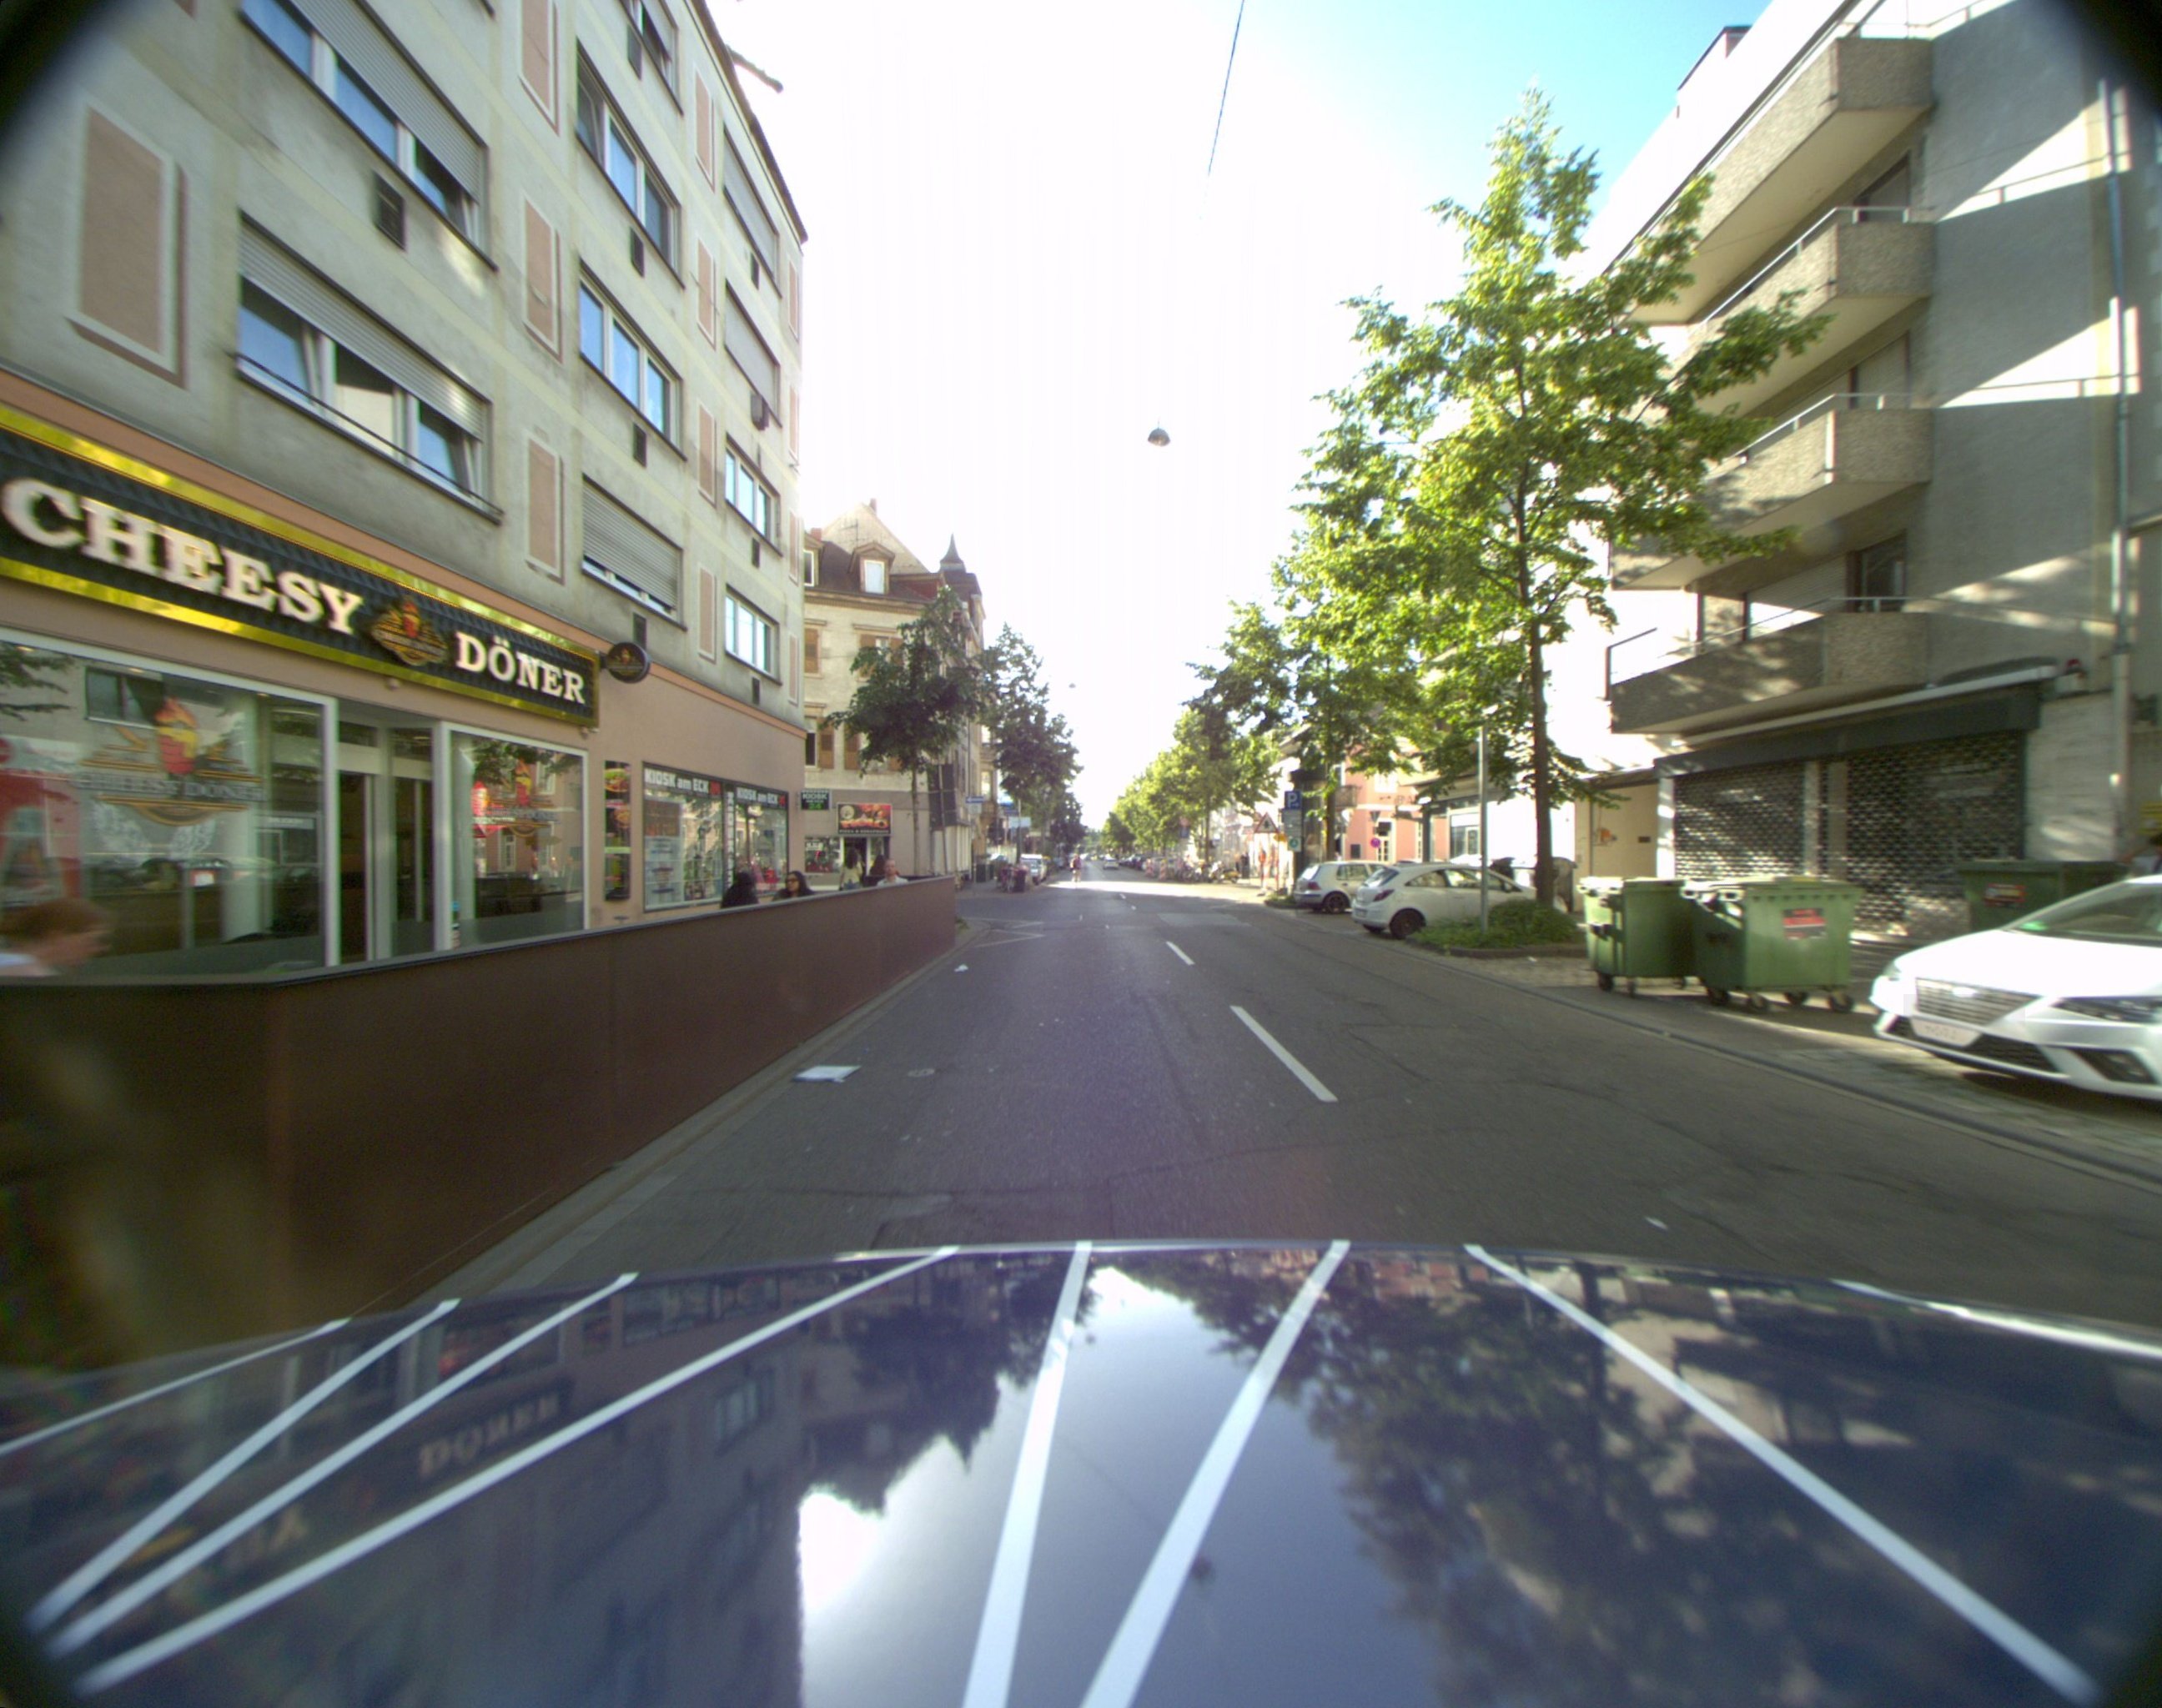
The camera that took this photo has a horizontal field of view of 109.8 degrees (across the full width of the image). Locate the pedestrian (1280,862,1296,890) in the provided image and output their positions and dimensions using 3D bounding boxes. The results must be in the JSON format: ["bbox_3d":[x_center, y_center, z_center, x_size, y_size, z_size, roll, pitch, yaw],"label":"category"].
[{"bbox_3d":[12.016,1.268,44.124,0.650,1.592,0.863,-1,0,0],"label":"pedestrian"}]

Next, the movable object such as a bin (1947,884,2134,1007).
[{"bbox_3d":[12.006,1.109,9.570,0.823,1.389,1.227,-1,1,3],"label":"movable object such as a bin"}]

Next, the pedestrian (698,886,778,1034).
[{"bbox_3d":[-3.330,1.005,7.414,0.474,1.354,0.594,-1,1,1],"label":"pedestrian"}]

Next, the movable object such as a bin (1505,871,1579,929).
[{"bbox_3d":[11.845,1.164,19.572,1.080,1.406,1.352,0,0,1],"label":"movable object such as a bin"}]

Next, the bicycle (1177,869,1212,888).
[{"bbox_3d":[6.751,1.455,45.163,2.006,1.023,0.473,-2,1,-12],"label":"bicycle"}]

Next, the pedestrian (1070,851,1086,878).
[{"bbox_3d":[-0.171,0.570,40.372,0.804,1.381,0.931,-1,0,-1],"label":"pedestrian"}]

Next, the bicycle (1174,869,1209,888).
[{"bbox_3d":[6.658,1.460,45.652,2.006,1.023,0.473,-2,1,-12],"label":"bicycle"}]

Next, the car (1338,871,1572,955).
[{"bbox_3d":[7.263,1.119,14.990,3.788,1.455,1.710,-1,0,-2],"label":"car"}]

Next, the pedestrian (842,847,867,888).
[{"bbox_3d":[-9.660,0.573,32.362,0.801,1.687,0.705,-1,3,-39],"label":"pedestrian"}]

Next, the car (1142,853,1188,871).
[{"bbox_3d":[7.944,0.775,72.334,4.135,1.670,2.000,0,0,-1],"label":"car"}]

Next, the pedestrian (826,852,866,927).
[{"bbox_3d":[-5.299,0.795,17.177,0.643,1.635,0.748,2,0,-1],"label":"pedestrian"}]

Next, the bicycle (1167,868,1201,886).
[{"bbox_3d":[6.362,1.425,47.045,2.006,1.023,0.473,-2,1,-12],"label":"bicycle"}]

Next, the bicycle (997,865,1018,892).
[{"bbox_3d":[-3.337,1.117,34.355,0.379,1.139,1.670,1,1,-24],"label":"bicycle"}]

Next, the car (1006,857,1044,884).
[{"bbox_3d":[-3.181,0.903,43.624,1.835,1.410,4.159,2,0,0],"label":"car"}]

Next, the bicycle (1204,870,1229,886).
[{"bbox_3d":[8.170,1.460,45.874,1.513,0.945,0.360,-1,1,41],"label":"bicycle"}]

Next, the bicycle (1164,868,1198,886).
[{"bbox_3d":[6.248,1.423,47.553,2.006,1.023,0.473,-2,1,-12],"label":"bicycle"}]

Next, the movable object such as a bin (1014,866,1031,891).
[{"bbox_3d":[-2.692,1.132,35.229,0.721,1.149,0.602,0,0,3],"label":"movable object such as a bin"}]

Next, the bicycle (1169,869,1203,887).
[{"bbox_3d":[6.454,1.437,46.570,2.006,1.023,0.473,-2,1,-12],"label":"bicycle"}]

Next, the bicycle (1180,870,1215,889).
[{"bbox_3d":[6.855,1.489,44.636,2.006,1.023,0.473,-2,1,-12],"label":"bicycle"}]

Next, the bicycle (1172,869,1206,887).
[{"bbox_3d":[6.551,1.449,46.147,2.006,1.023,0.473,-2,1,-12],"label":"bicycle"}]

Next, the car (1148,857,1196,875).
[{"bbox_3d":[8.351,1.090,69.908,4.135,1.670,2.000,0,0,-1],"label":"car"}]

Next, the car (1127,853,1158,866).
[{"bbox_3d":[8.325,0.726,103.168,4.135,1.792,1.911,0,0,-1],"label":"car"}]

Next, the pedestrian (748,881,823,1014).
[{"bbox_3d":[-3.200,0.989,8.271,0.553,1.371,0.594,-1,1,1],"label":"pedestrian"}]

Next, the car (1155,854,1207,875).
[{"bbox_3d":[8.418,0.867,64.230,4.135,1.670,2.000,0,0,-1],"label":"car"}]

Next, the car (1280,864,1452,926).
[{"bbox_3d":[7.680,1.079,20.718,4.008,1.456,1.748,-2,2,0],"label":"car"}]

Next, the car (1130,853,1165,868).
[{"bbox_3d":[8.154,0.786,93.623,4.135,1.792,1.911,0,0,-1],"label":"car"}]

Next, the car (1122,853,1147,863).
[{"bbox_3d":[9.502,0.732,135.017,4.135,1.792,1.911,0,0,-1],"label":"car"}]

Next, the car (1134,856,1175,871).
[{"bbox_3d":[7.789,0.980,80.498,4.135,1.584,1.911,0,0,-1],"label":"car"}]

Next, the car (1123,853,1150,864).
[{"bbox_3d":[8.995,0.725,123.728,4.135,1.792,1.911,0,0,-1],"label":"car"}]

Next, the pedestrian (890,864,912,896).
[{"bbox_3d":[-7.473,1.078,31.563,0.714,1.252,0.589,-1,3,-39],"label":"pedestrian"}]

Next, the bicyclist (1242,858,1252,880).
[{"bbox_3d":[11.596,1.056,53.114,0.570,1.495,0.751,0,2,0],"label":"bicyclist"}]

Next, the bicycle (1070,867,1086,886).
[{"bbox_3d":[-0.160,1.174,40.394,0.805,0.958,1.996,-1,0,-1],"label":"bicycle"}]

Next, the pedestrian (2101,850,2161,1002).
[{"bbox_3d":[12.062,0.787,8.505,0.434,1.662,0.639,-1,1,3],"label":"pedestrian"}]

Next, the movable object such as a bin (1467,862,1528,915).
[{"bbox_3d":[11.759,0.954,21.496,1.035,1.451,1.258,0,0,1],"label":"movable object such as a bin"}]

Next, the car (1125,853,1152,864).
[{"bbox_3d":[9.153,0.695,120.929,4.135,1.792,1.911,0,0,-1],"label":"car"}]

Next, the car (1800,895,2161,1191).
[{"bbox_3d":[7.630,1.058,4.997,3.989,1.455,1.887,-1,0,1],"label":"car"}]

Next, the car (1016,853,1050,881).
[{"bbox_3d":[-3.032,0.812,48.671,1.835,1.641,4.159,2,0,1],"label":"car"}]

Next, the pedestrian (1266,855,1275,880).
[{"bbox_3d":[13.139,0.905,52.669,0.517,1.716,0.526,0,0,18],"label":"pedestrian"}]

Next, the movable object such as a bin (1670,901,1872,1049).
[{"bbox_3d":[6.893,1.172,7.660,1.195,1.337,0.931,0,0,0],"label":"movable object such as a bin"}]

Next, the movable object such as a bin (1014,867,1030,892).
[{"bbox_3d":[-2.661,1.145,34.497,0.634,1.062,0.602,1,2,2],"label":"movable object such as a bin"}]

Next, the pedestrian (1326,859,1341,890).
[{"bbox_3d":[13.946,1.122,42.015,0.630,1.716,0.580,0,0,-3],"label":"pedestrian"}]

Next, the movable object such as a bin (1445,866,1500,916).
[{"bbox_3d":[11.842,1.111,23.018,1.035,1.451,1.258,0,0,1],"label":"movable object such as a bin"}]

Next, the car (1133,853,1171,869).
[{"bbox_3d":[8.002,0.801,85.753,4.135,1.792,1.911,0,0,-1],"label":"car"}]

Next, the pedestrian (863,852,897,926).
[{"bbox_3d":[-4.531,0.774,17.138,0.515,1.635,0.748,2,0,-1],"label":"pedestrian"}]

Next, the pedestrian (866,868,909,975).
[{"bbox_3d":[-2.831,0.971,11.153,0.474,1.520,0.462,-1,1,1],"label":"pedestrian"}]

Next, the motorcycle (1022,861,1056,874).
[{"bbox_3d":[-3.513,1.120,63.316,2.656,1.071,0.962,0,0,-14],"label":"motorcycle"}]

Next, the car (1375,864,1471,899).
[{"bbox_3d":[15.248,1.187,33.908,3.607,1.468,1.901,0,0,-22],"label":"car"}]

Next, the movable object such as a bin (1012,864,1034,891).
[{"bbox_3d":[-2.757,1.114,36.045,0.944,1.207,0.699,1,1,1],"label":"movable object such as a bin"}]

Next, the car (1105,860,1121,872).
[{"bbox_3d":[3.832,1.438,92.398,1.835,1.410,3.833,1,0,0],"label":"car"}]

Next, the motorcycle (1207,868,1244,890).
[{"bbox_3d":[8.303,1.436,43.810,2.003,1.178,0.740,-1,0,3],"label":"motorcycle"}]

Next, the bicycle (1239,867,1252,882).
[{"bbox_3d":[11.598,1.433,53.544,0.570,1.081,1.652,0,-1,0],"label":"bicycle"}]

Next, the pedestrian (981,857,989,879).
[{"bbox_3d":[-6.277,0.900,49.726,0.460,1.434,0.521,0,1,-1],"label":"pedestrian"}]

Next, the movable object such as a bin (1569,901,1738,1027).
[{"bbox_3d":[6.425,1.208,8.593,1.240,1.295,0.870,0,0,0],"label":"movable object such as a bin"}]

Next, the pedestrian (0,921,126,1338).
[{"bbox_3d":[-3.751,0.920,2.600,0.484,1.323,0.473,-1,1,-38],"label":"pedestrian"}]
